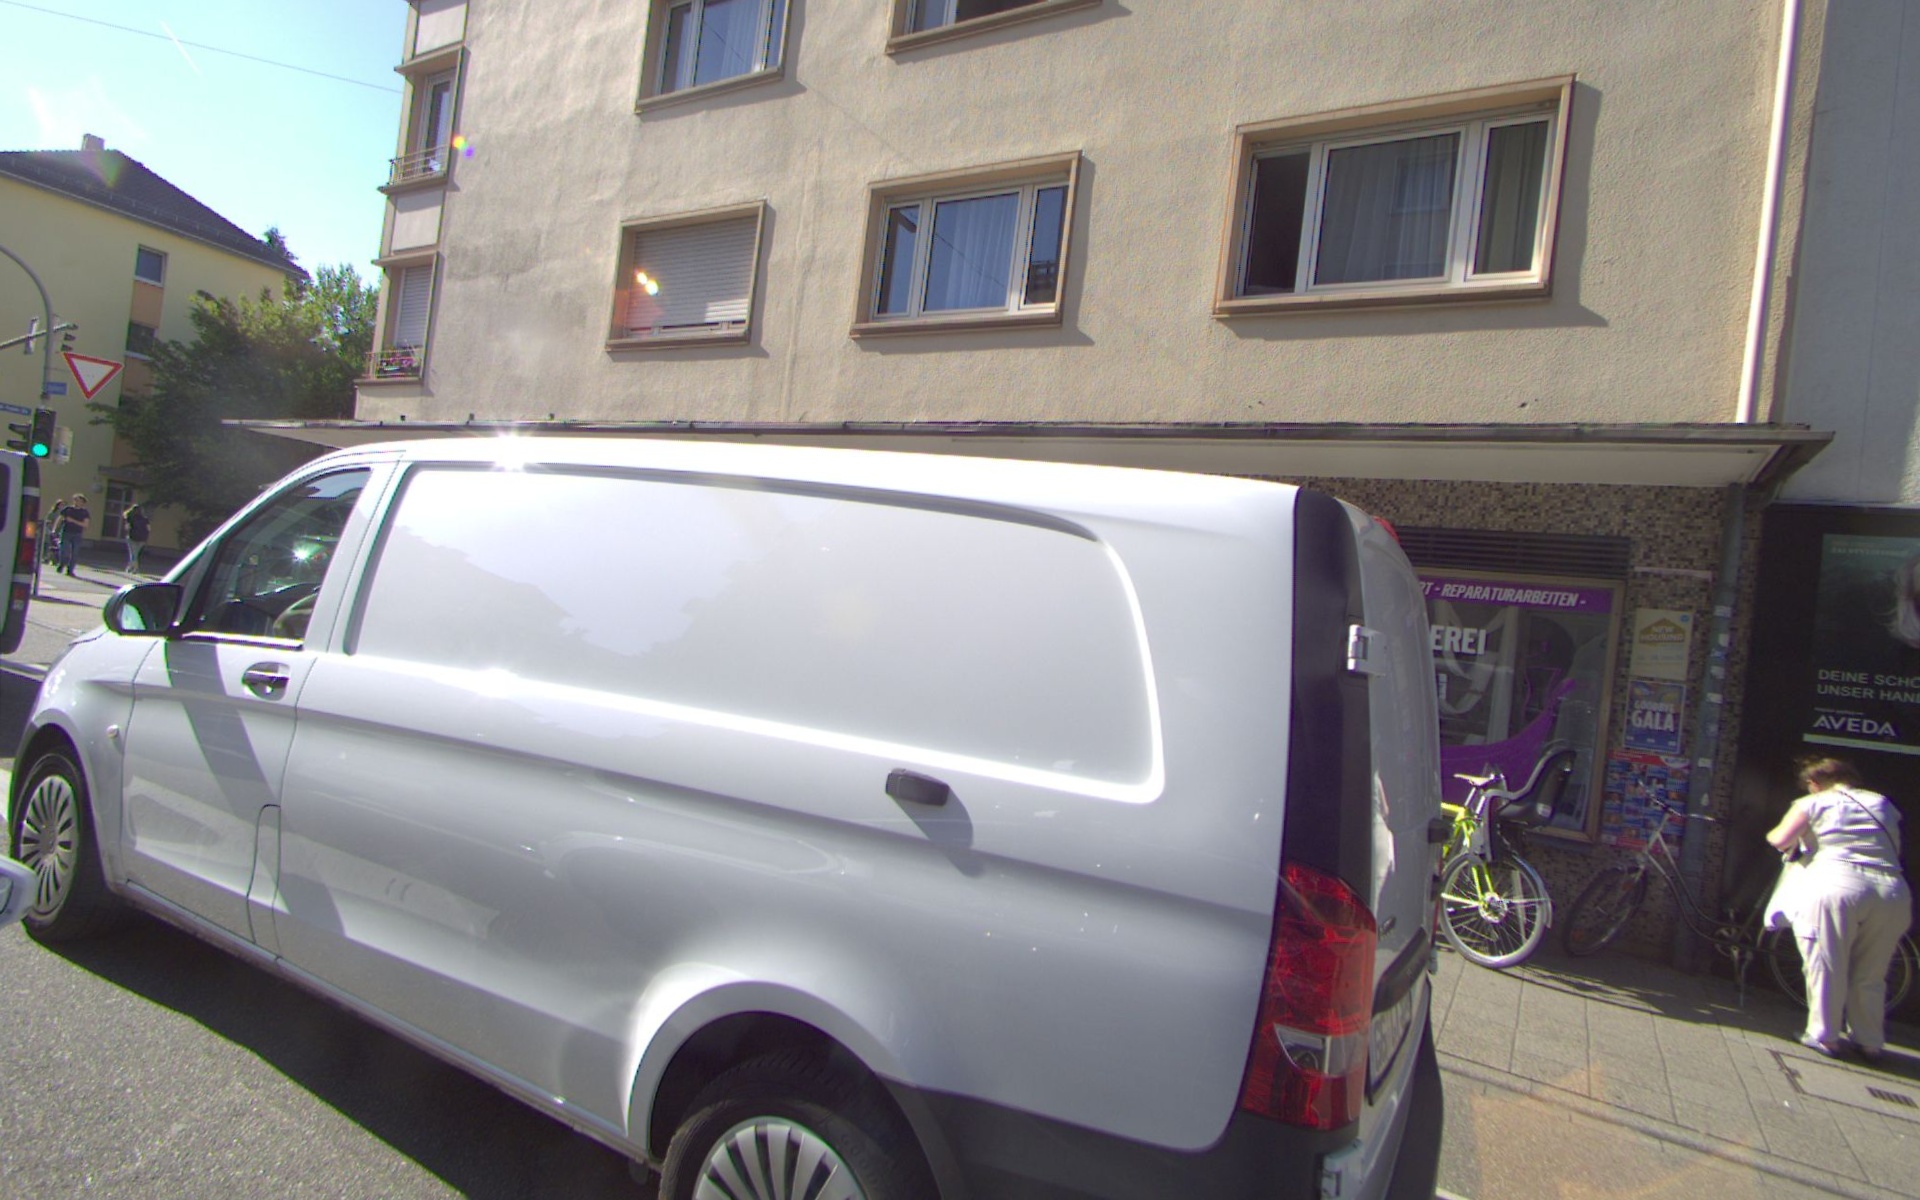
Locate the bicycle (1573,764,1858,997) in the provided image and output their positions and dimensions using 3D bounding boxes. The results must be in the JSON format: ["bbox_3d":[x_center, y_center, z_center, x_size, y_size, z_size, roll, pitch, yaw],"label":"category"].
[{"bbox_3d":[4.220,1.537,5.704,1.155,0.994,0.376,7,0,29],"label":"bicycle"}]

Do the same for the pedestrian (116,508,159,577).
[{"bbox_3d":[-20.356,-1.421,24.908,0.530,1.590,0.540,7,0,32],"label":"pedestrian"}]

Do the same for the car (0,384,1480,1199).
[{"bbox_3d":[-1.061,0.495,3.375,4.751,1.832,1.972,6,-1,31],"label":"car"}]

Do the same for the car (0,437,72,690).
[{"bbox_3d":[-9.964,-0.582,8.637,4.972,1.961,1.973,6,-3,32],"label":"car"}]

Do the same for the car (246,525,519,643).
[{"bbox_3d":[-10.764,-0.233,19.052,1.795,1.682,3.994,7,-1,32],"label":"car"}]

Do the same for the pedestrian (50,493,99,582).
[{"bbox_3d":[-19.467,-1.373,22.114,0.620,1.844,0.602,7,0,45],"label":"pedestrian"}]

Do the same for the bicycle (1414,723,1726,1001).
[{"bbox_3d":[3.310,1.370,5.649,0.710,1.120,1.495,7,-1,0],"label":"bicycle"}]

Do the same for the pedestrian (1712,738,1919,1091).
[{"bbox_3d":[4.298,1.480,5.011,0.614,1.459,0.775,7,0,27],"label":"pedestrian"}]
